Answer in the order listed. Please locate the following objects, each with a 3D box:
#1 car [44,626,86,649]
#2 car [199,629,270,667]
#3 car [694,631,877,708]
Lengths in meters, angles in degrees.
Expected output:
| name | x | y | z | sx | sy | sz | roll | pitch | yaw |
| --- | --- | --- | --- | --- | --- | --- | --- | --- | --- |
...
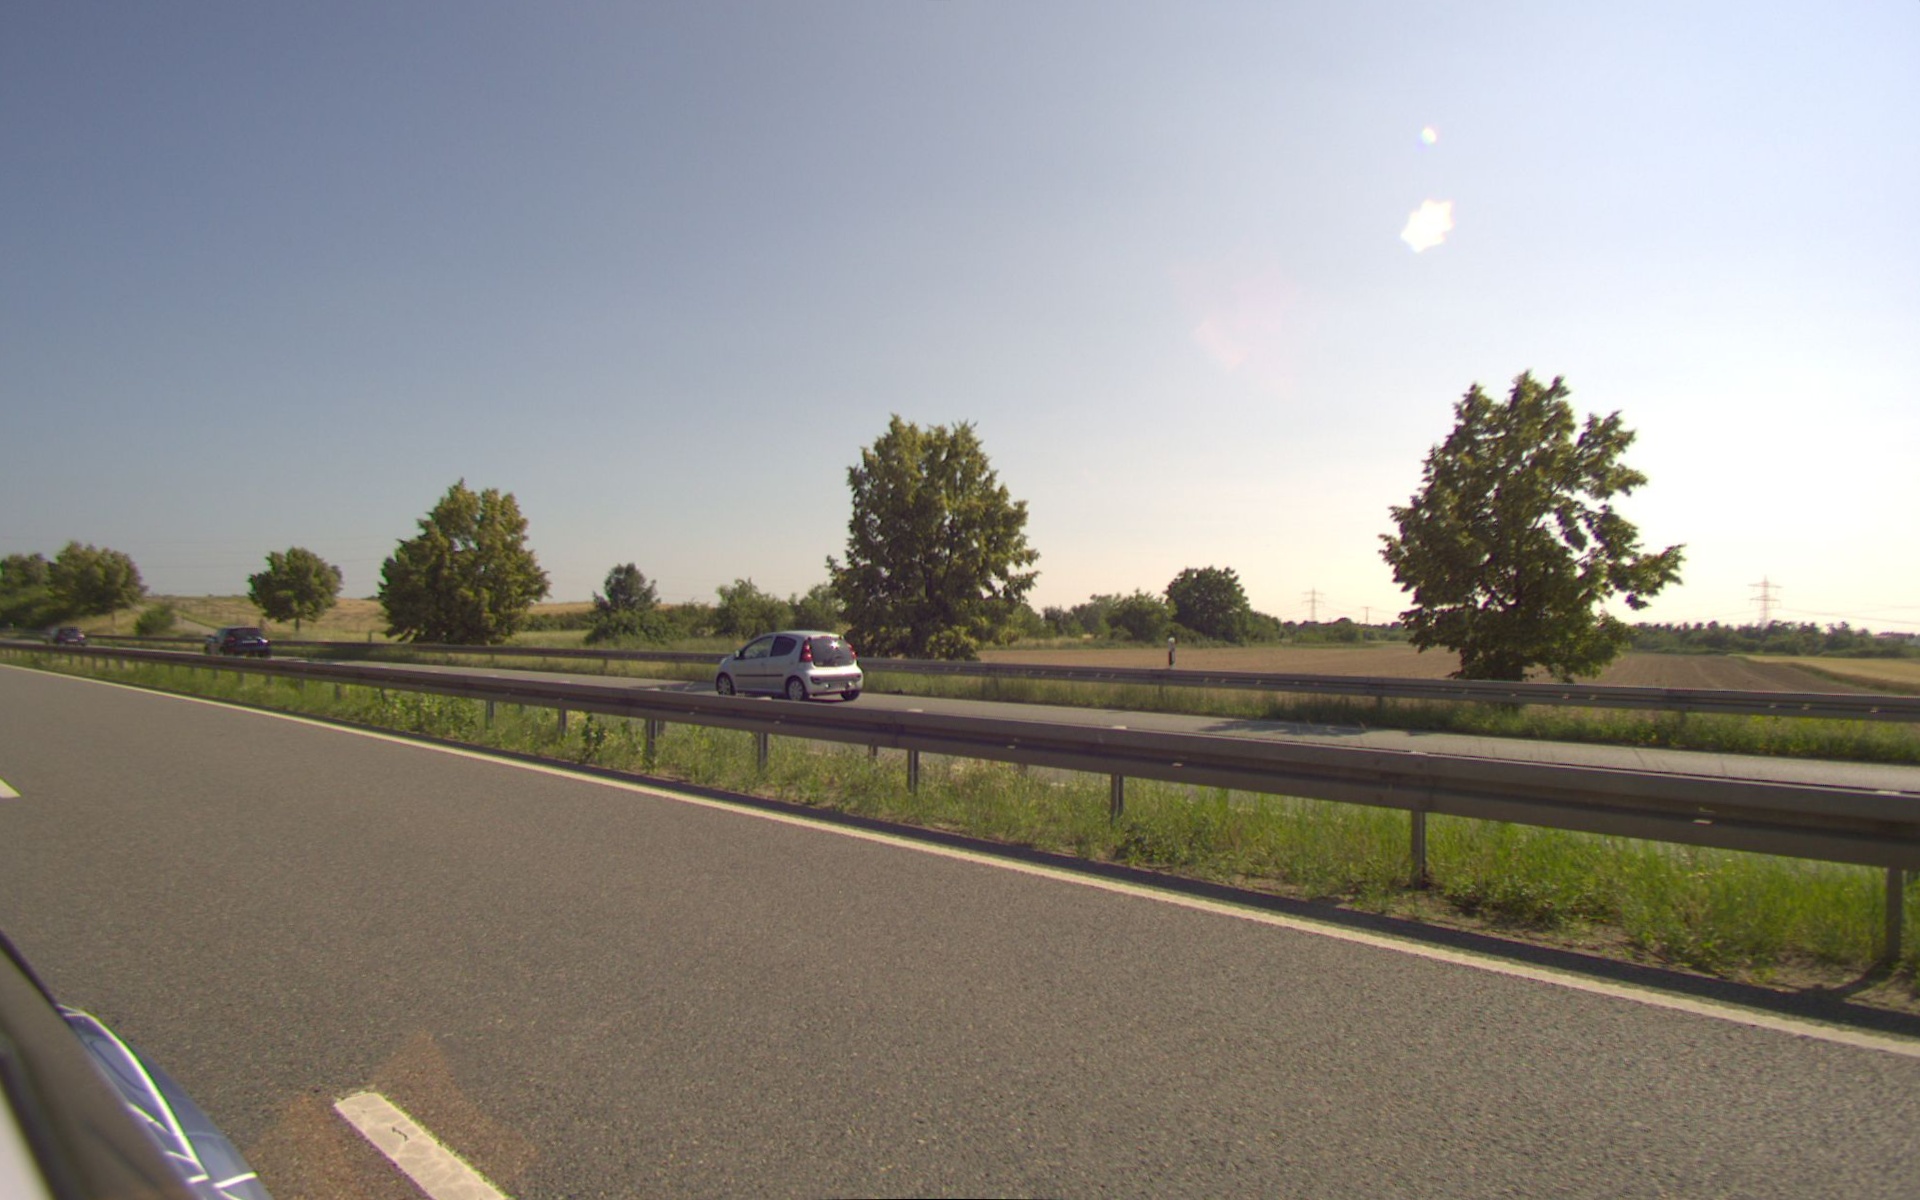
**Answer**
| name | x | y | z | sx | sy | sz | roll | pitch | yaw |
| --- | --- | --- | --- | --- | --- | --- | --- | --- | --- |
| car | -63.879 | 2.646 | 72.209 | 4.558 | 1.565 | 1.635 | -2 | 0 | 41 |
| car | -31.587 | 2.053 | 44.010 | 4.243 | 1.553 | 1.672 | -2 | -2 | 43 |
| car | -3.739 | 1.382 | 21.299 | 3.937 | 1.448 | 1.673 | -1 | -1 | 40 |
